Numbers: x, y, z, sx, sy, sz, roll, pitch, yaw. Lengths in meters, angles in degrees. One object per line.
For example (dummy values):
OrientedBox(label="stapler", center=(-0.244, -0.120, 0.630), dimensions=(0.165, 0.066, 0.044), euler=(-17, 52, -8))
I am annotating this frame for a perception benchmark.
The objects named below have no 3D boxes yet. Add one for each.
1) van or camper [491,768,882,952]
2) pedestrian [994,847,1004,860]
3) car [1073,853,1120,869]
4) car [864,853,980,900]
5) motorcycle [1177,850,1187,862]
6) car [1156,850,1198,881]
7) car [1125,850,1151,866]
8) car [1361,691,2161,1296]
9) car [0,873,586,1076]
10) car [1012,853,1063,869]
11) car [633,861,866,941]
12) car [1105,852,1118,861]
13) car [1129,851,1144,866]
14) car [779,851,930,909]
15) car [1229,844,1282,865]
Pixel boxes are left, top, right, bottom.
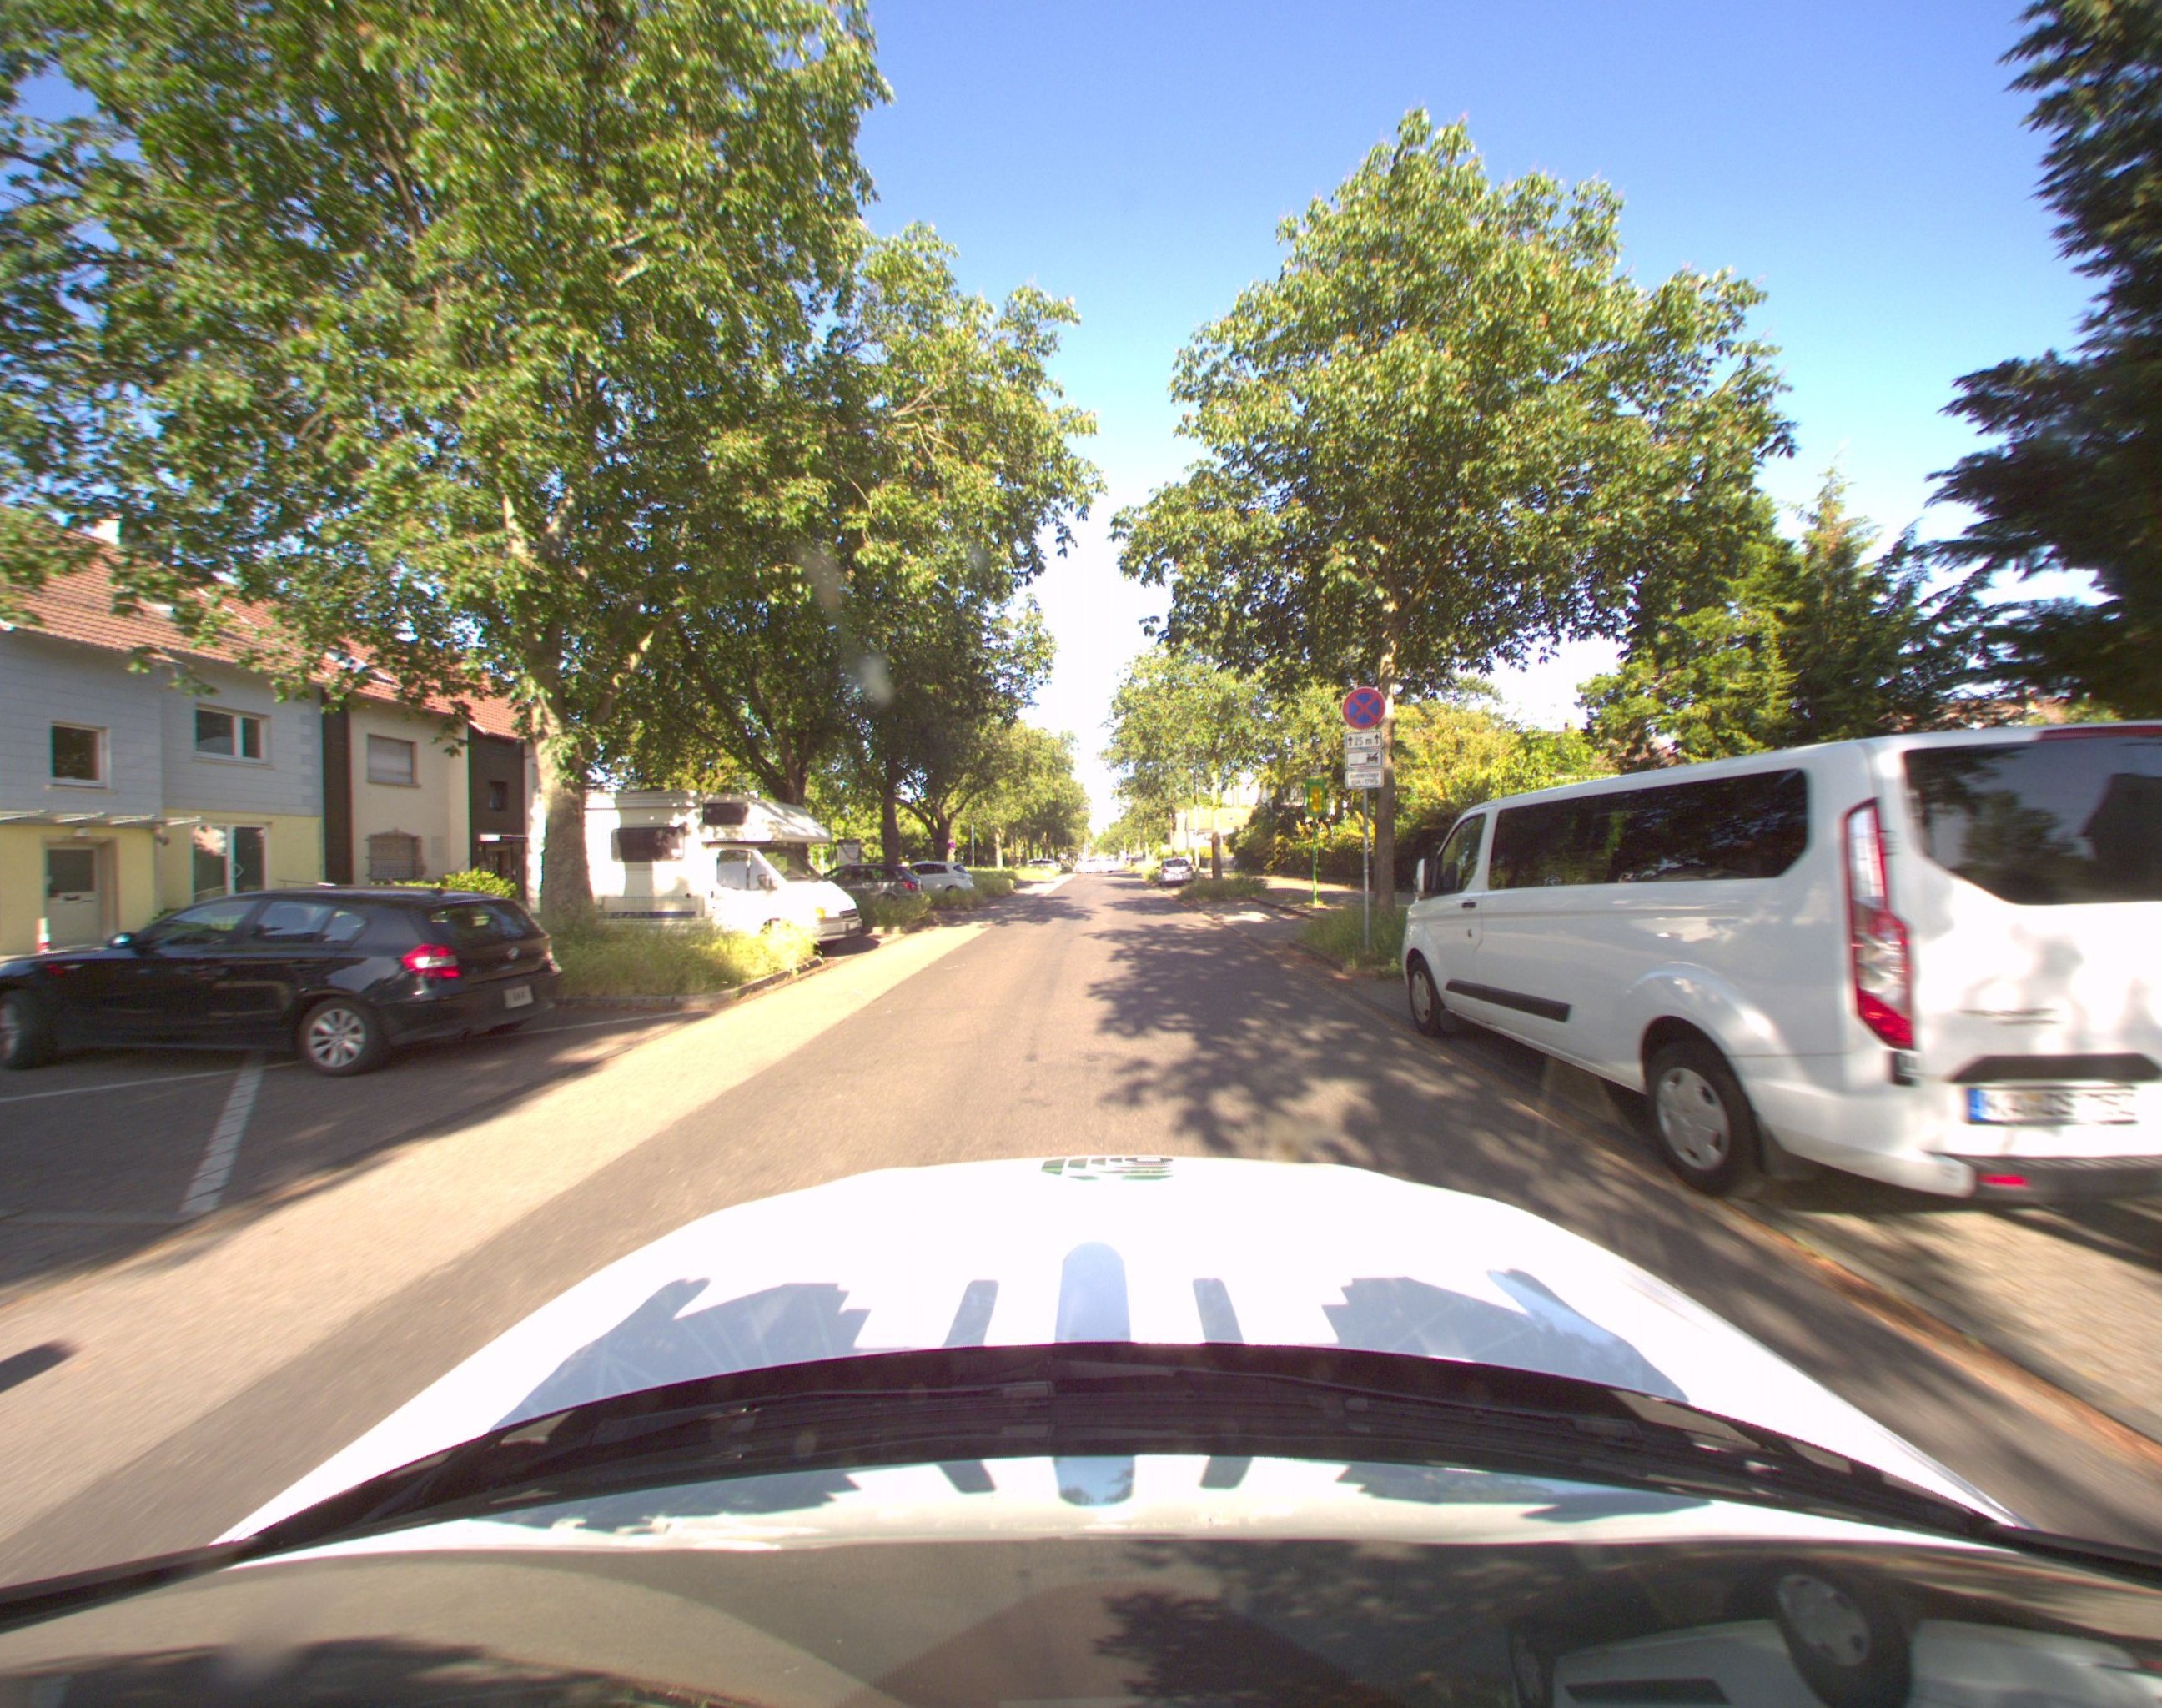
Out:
OrientedBox(label="van or camper", center=(-6.655, 0.085, 14.178), dimensions=(5.751, 2.805, 2.002), euler=(2, -1, 3))
OrientedBox(label="pedestrian", center=(-12.143, -0.094, 121.051), dimensions=(1.227, 1.827, 1.543), euler=(1, -1, -15))
OrientedBox(label="car", center=(1.463, 0.645, 78.046), dimensions=(4.170, 1.455, 2.013), euler=(-1, 0, 40))
OrientedBox(label="car", center=(-5.953, 0.837, 30.903), dimensions=(3.974, 1.661, 1.967), euler=(-1, 0, 0))
OrientedBox(label="motorcycle", center=(10.577, 0.207, 85.337), dimensions=(0.815, 1.227, 2.352), euler=(-3, 0, 1))
OrientedBox(label="car", center=(5.102, 0.606, 42.808), dimensions=(1.982, 1.510, 4.009), euler=(-2, -1, 8))
OrientedBox(label="car", center=(5.741, 0.405, 83.091), dimensions=(1.990, 1.622, 4.374), euler=(2, 0, -4))
OrientedBox(label="car", center=(3.733, 0.501, 5.353), dimensions=(1.987, 2.014, 5.196), euler=(2, 0, 0))
OrientedBox(label="car", center=(-6.802, 0.931, 7.112), dimensions=(3.968, 1.450, 1.641), euler=(1, -1, 4))
OrientedBox(label="car", center=(-4.080, 0.653, 77.163), dimensions=(4.652, 1.503, 2.001), euler=(-1, 0, 2))
OrientedBox(label="car", center=(-6.793, 0.937, 17.050), dimensions=(3.974, 1.458, 1.999), euler=(2, -1, -1))
OrientedBox(label="car", center=(5.103, 0.391, 135.401), dimensions=(1.987, 1.508, 3.657), euler=(2, 0, 0))
OrientedBox(label="car", center=(6.445, 0.526, 94.990), dimensions=(1.604, 1.622, 4.383), euler=(2, 0, 2))
OrientedBox(label="car", center=(-6.819, 0.775, 24.892), dimensions=(3.974, 1.589, 2.000), euler=(2, -1, 0))
OrientedBox(label="car", center=(14.733, 0.032, 68.809), dimensions=(3.980, 1.640, 1.773), euler=(-2, 0, -5))
